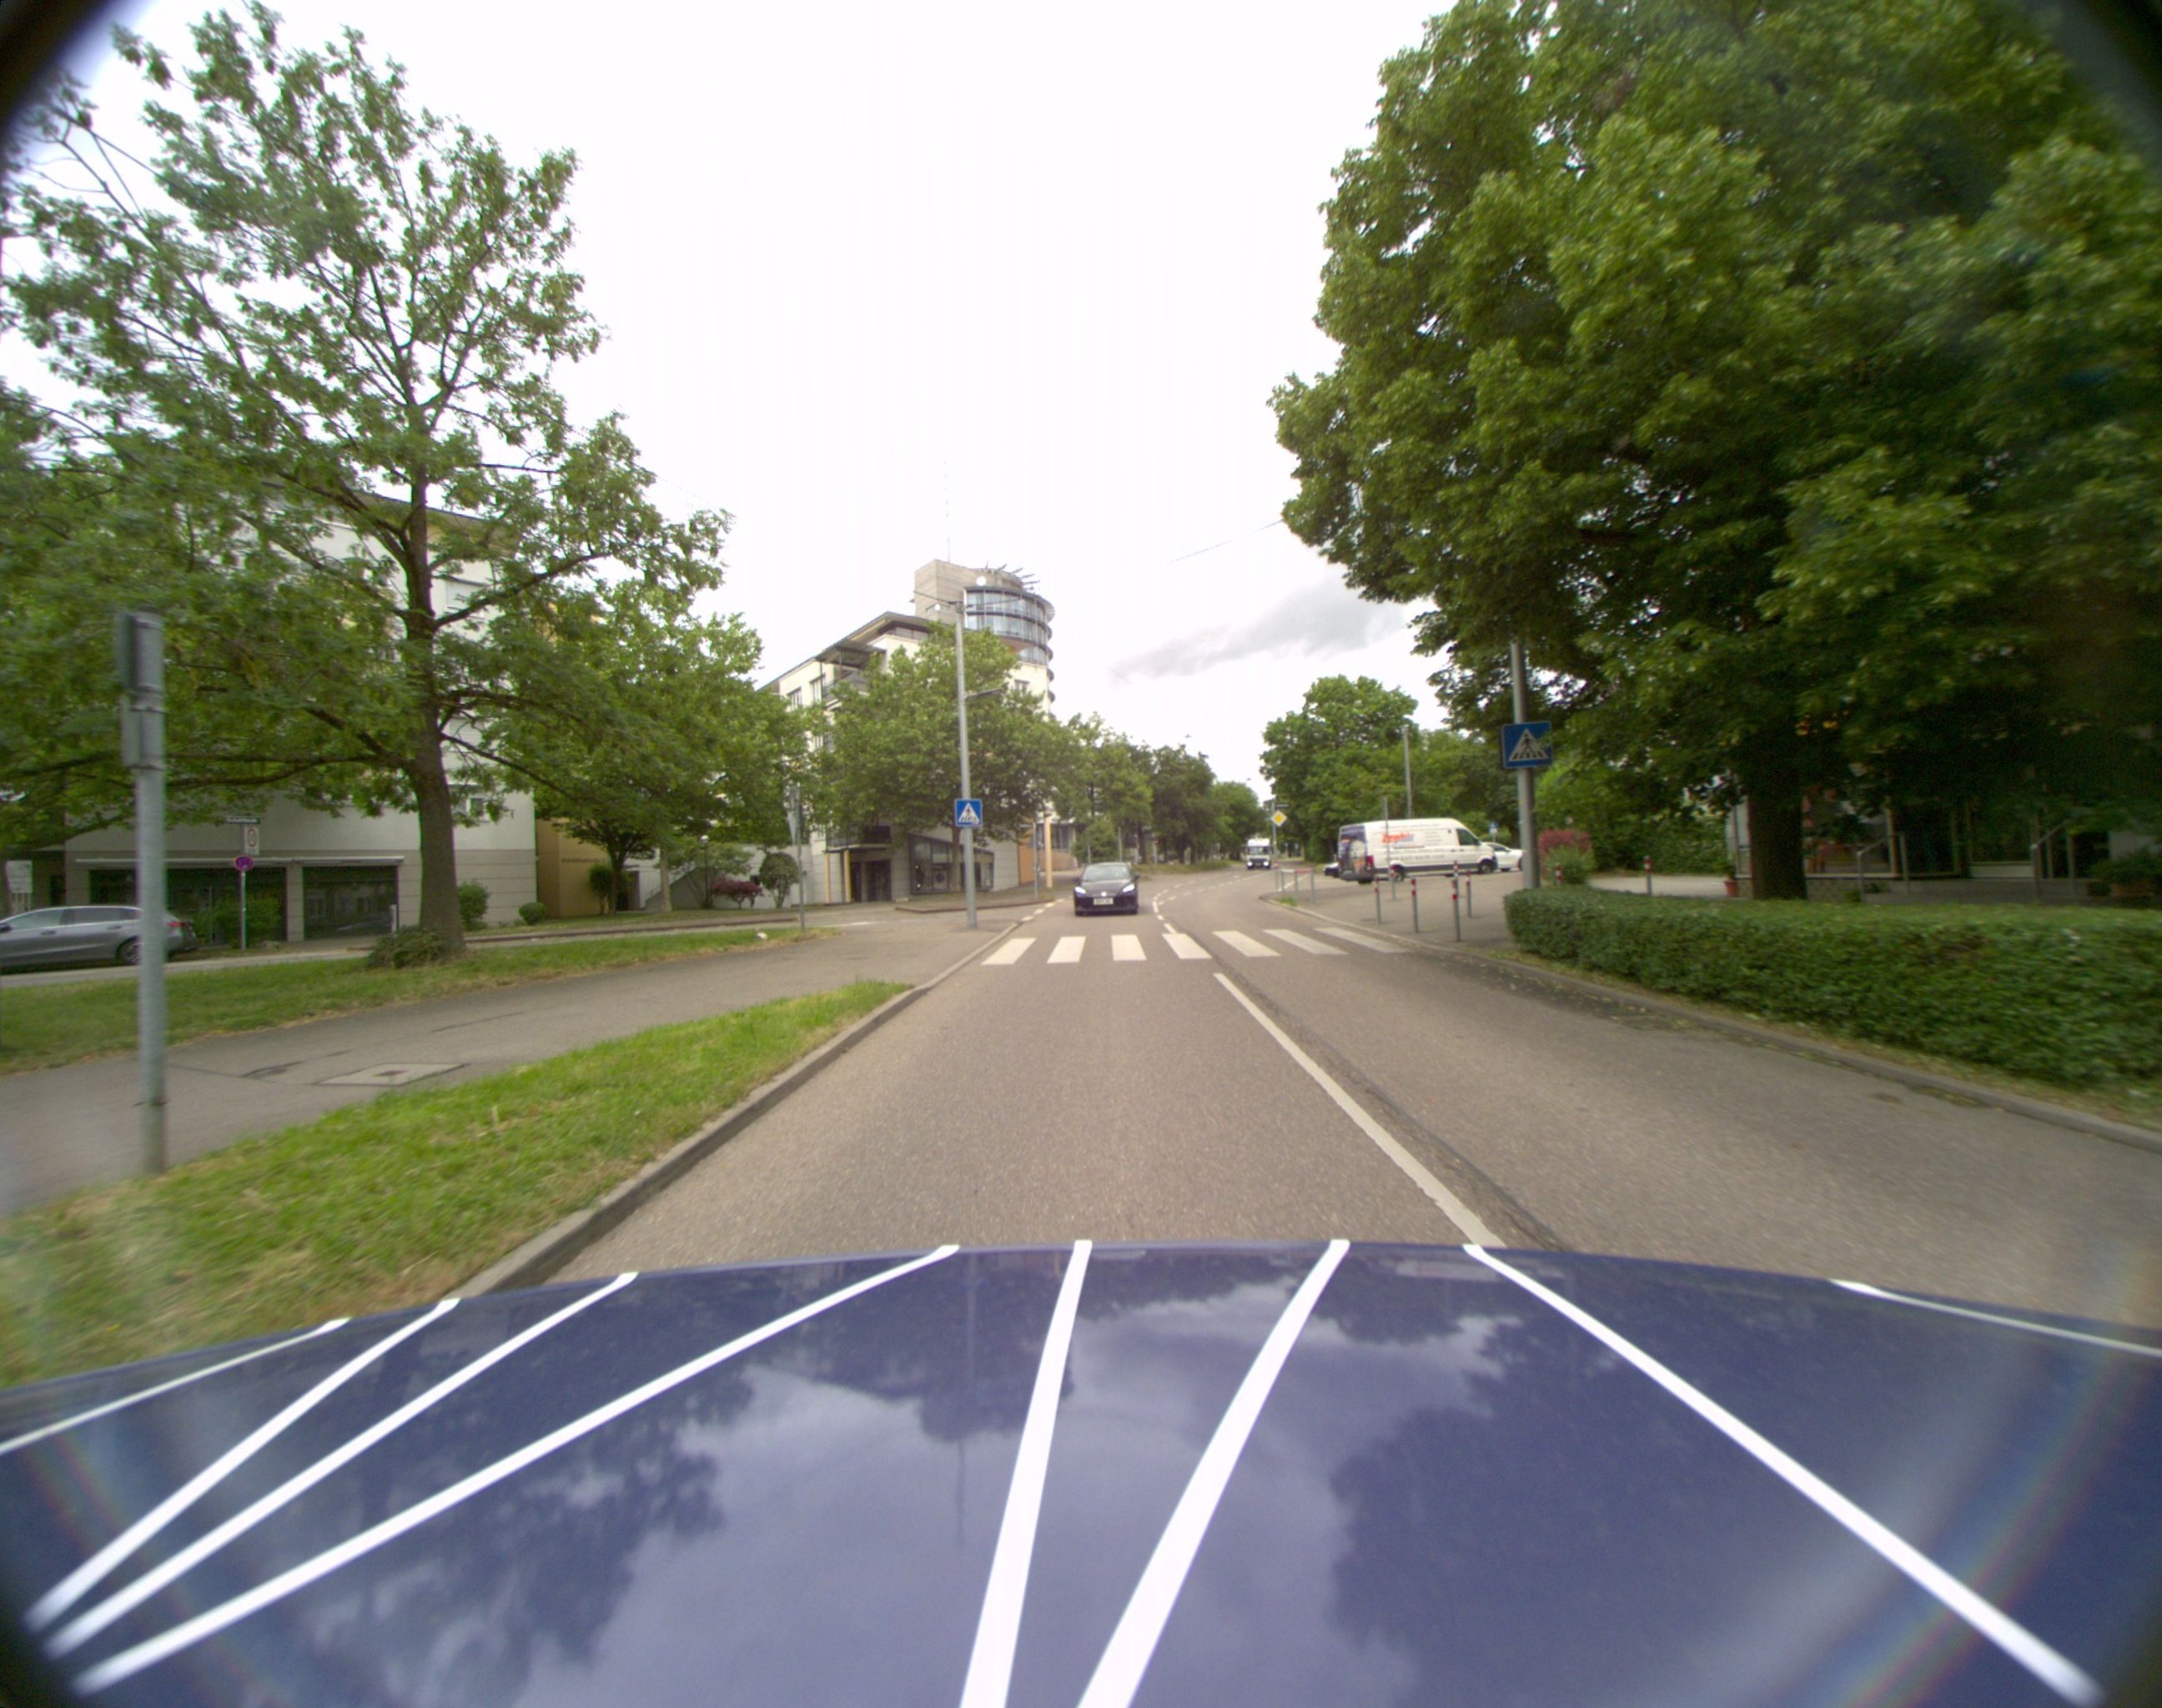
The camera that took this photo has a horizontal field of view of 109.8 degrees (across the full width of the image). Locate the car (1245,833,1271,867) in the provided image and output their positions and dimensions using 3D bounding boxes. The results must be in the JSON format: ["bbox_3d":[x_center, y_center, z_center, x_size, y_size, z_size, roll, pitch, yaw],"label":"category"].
[{"bbox_3d":[18.604,-0.458,79.576,2.433,3.256,7.798,-2,1,14],"label":"car"}]

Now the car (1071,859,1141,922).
[{"bbox_3d":[0.738,0.968,22.138,1.798,1.552,4.471,-2,0,2],"label":"car"}]

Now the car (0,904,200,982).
[{"bbox_3d":[-24.043,2.078,17.813,4.251,1.501,1.795,-2,0,-44],"label":"car"}]

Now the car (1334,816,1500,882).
[{"bbox_3d":[13.561,-0.223,30.654,6.375,2.334,1.974,-2,0,-18],"label":"car"}]

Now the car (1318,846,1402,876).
[{"bbox_3d":[15.588,0.358,42.536,3.999,1.501,1.799,-2,1,-5],"label":"car"}]

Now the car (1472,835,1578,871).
[{"bbox_3d":[21.002,-0.073,36.042,3.999,1.501,1.799,-2,1,-5],"label":"car"}]
